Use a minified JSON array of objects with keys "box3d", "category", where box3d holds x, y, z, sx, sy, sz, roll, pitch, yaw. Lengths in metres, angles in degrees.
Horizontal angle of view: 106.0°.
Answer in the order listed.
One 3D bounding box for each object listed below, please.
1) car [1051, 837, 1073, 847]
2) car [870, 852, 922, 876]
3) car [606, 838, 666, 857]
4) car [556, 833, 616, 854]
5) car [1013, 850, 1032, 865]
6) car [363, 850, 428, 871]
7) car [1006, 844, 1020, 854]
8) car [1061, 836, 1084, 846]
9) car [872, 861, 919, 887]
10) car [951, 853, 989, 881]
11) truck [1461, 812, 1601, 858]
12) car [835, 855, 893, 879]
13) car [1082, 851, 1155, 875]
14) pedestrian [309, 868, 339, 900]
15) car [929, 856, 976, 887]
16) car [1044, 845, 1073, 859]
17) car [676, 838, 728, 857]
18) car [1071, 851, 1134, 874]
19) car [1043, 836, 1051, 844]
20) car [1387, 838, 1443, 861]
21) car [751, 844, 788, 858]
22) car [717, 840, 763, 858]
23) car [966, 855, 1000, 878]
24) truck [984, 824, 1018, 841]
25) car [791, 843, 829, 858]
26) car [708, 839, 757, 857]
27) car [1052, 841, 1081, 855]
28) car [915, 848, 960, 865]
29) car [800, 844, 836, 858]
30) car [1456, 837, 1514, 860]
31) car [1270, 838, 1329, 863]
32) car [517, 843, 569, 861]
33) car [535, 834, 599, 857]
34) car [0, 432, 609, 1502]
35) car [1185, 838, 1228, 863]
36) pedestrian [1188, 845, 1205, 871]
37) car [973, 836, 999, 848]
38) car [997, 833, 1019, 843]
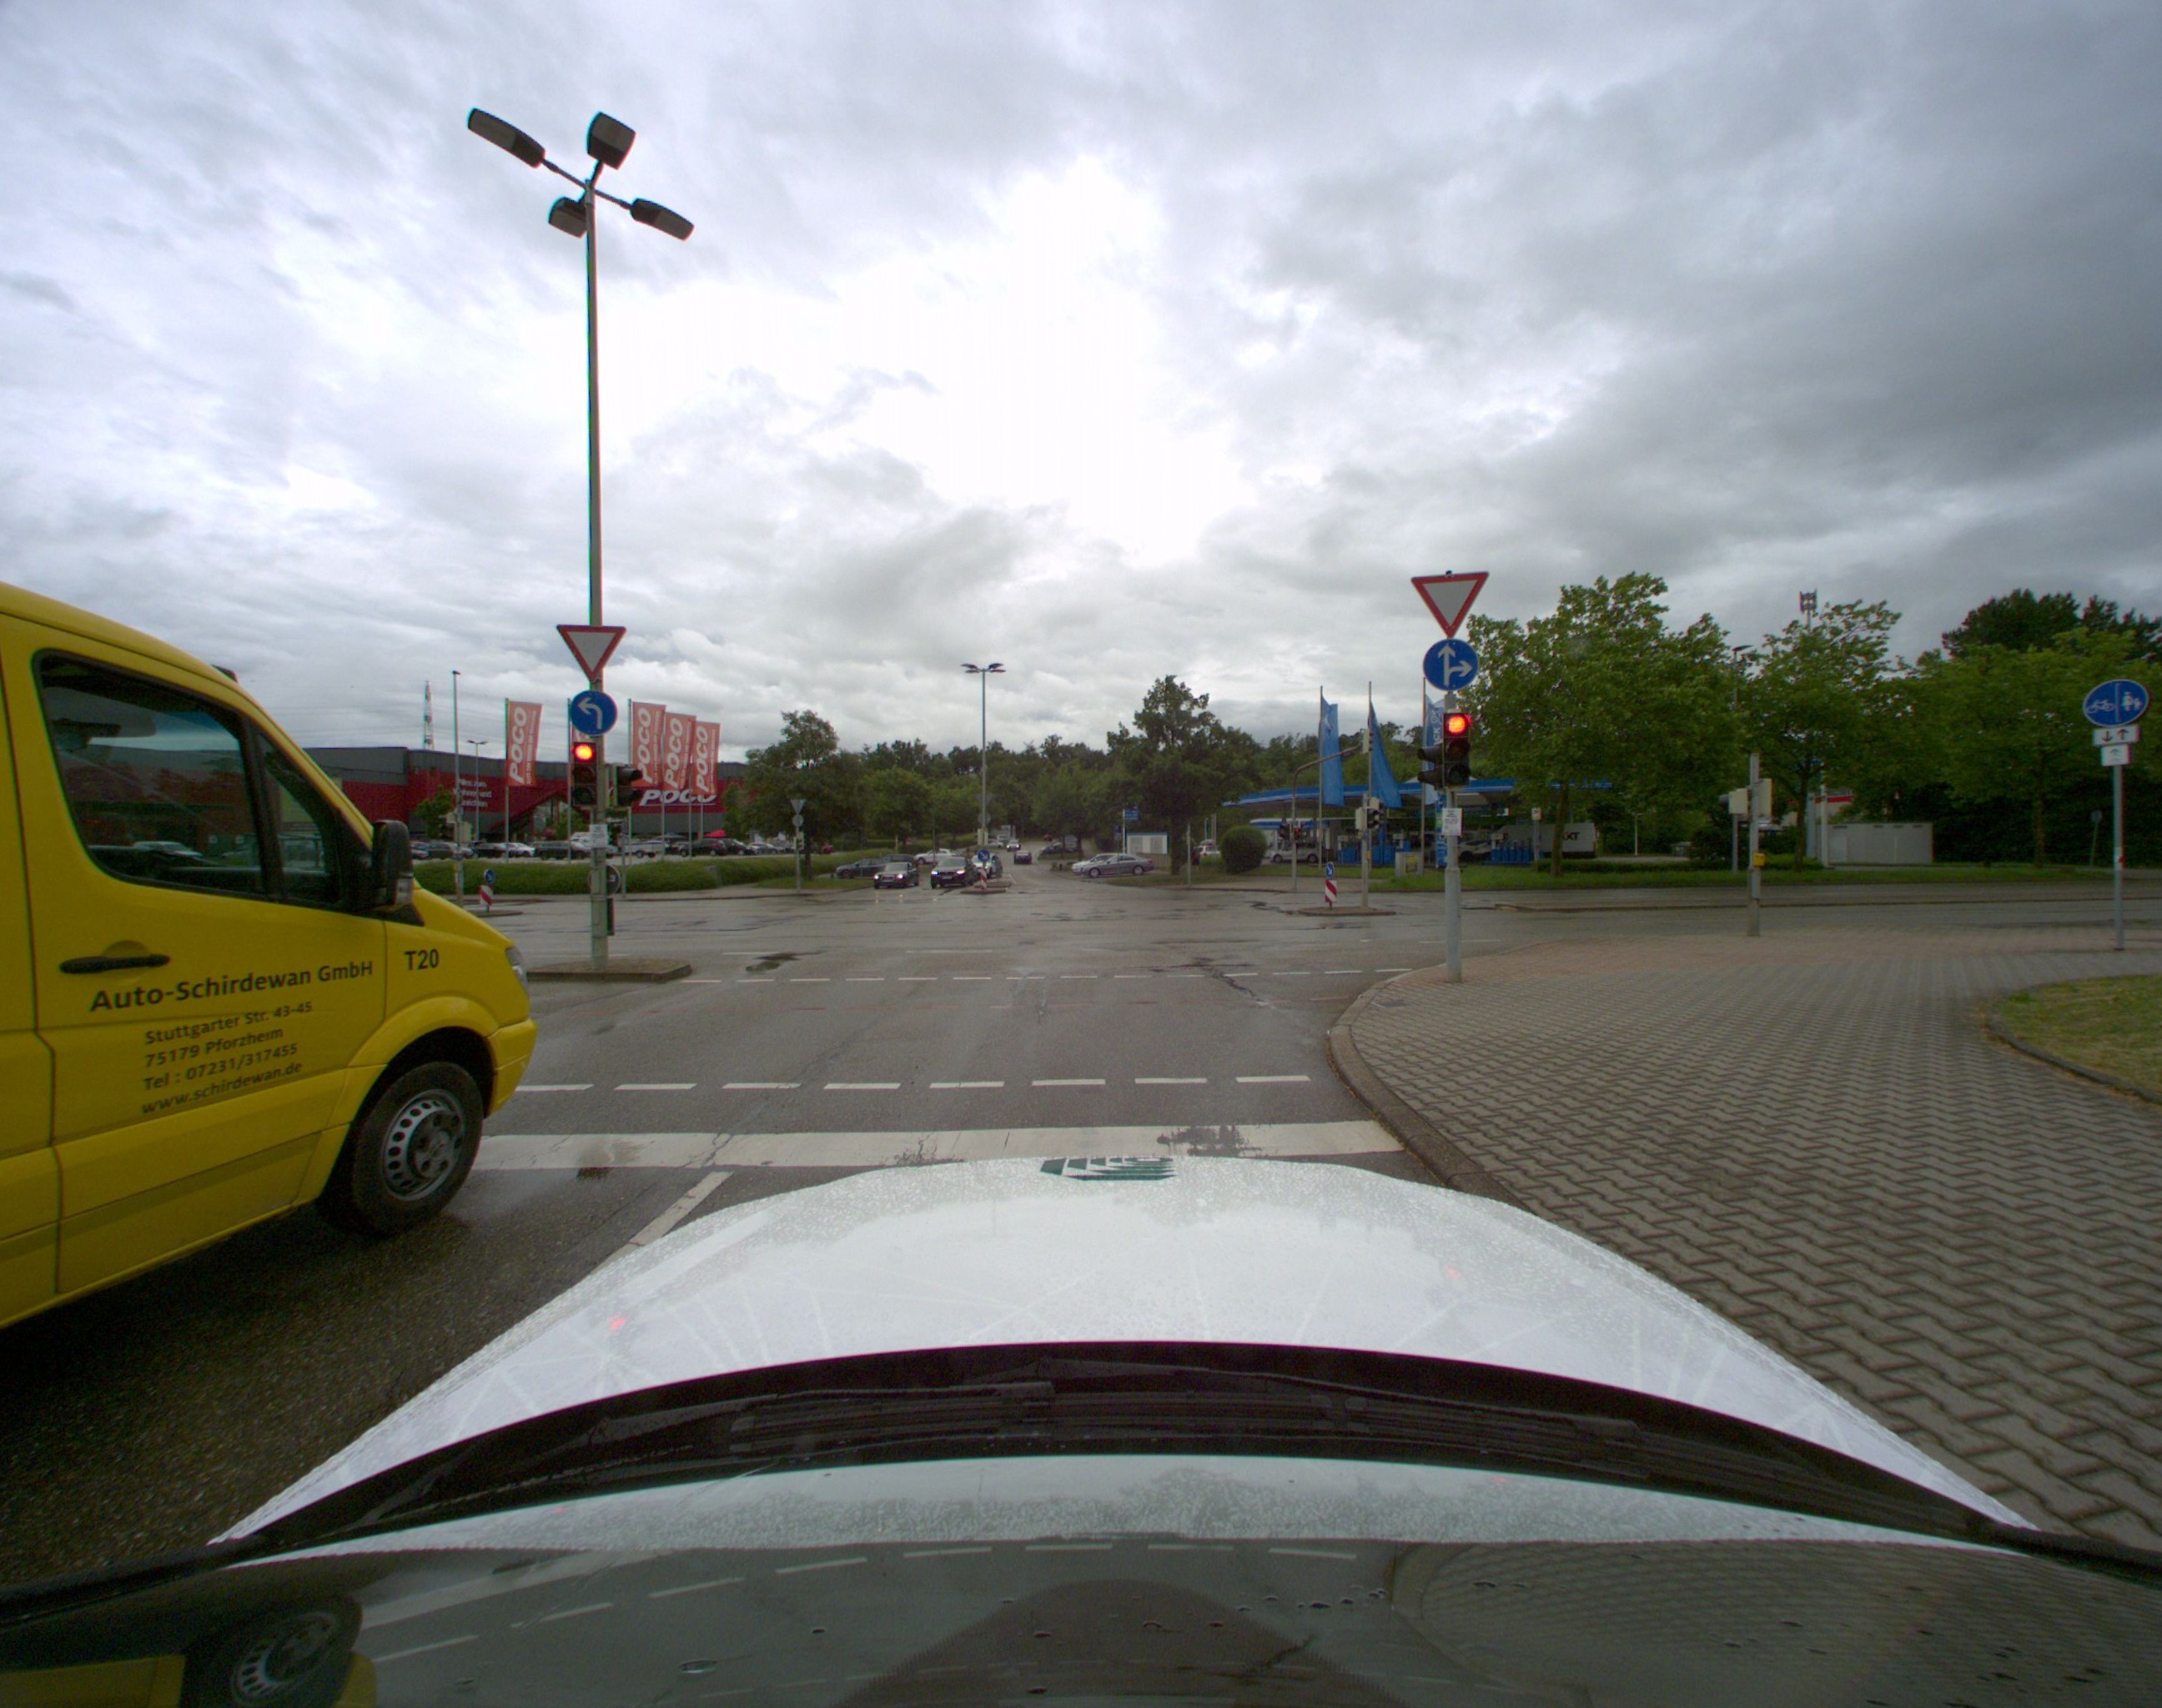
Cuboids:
[{"box3d":[-3.592,-2.230,152.111,3.979,1.739,1.808,-1,-1,-4],"category":"car"},{"box3d":[-14.198,0.763,62.535,3.643,1.724,1.682,-1,-1,-5],"category":"car"},{"box3d":[-35.369,-0.516,64.748,3.880,1.381,1.674,-1,-1,3],"category":"car"},{"box3d":[-39.380,-0.822,64.825,3.798,1.645,1.634,-1,-1,3],"category":"car"},{"box3d":[-6.073,0.375,85.027,1.803,1.482,3.747,-1,0,-3],"category":"car"},{"box3d":[-55.108,0.509,65.503,3.933,1.645,1.674,-1,-1,3],"category":"car"},{"box3d":[-10.127,-0.741,121.750,1.692,1.456,3.673,-1,-1,1],"category":"car"},{"box3d":[-1.581,-2.313,144.629,3.979,1.739,1.808,-1,-1,-4],"category":"car"},{"box3d":[-10.336,1.083,45.619,1.778,1.404,3.998,-1,0,-1],"category":"car"},{"box3d":[-6.851,0.779,50.566,1.791,1.633,4.549,-1,-1,-1],"category":"car"},{"box3d":[29.037,-1.179,52.899,7.774,2.675,2.168,-1,-1,27],"category":"truck"},{"box3d":[-15.142,0.915,56.925,3.643,1.553,1.682,-1,-1,-5],"category":"car"},{"box3d":[2.565,0.627,56.574,4.878,1.549,1.996,-1,-1,-5],"category":"car"},{"box3d":[-34.349,1.371,36.953,0.637,1.431,0.781,-1,-1,-1],"category":"pedestrian"},{"box3d":[-6.943,0.926,44.338,1.890,1.553,4.589,-1,0,-1],"category":"car"},{"box3d":[-2.692,-0.206,98.058,3.452,1.654,1.614,0,-1,-3],"category":"car"},{"box3d":[-33.430,-0.568,71.820,3.798,1.645,1.674,-1,-1,3],"category":"car"},{"box3d":[1.588,0.642,61.876,4.565,1.589,1.926,-1,-1,-5],"category":"car"},{"box3d":[-7.586,-3.110,181.142,1.800,1.739,3.996,-1,0,-3],"category":"car"},{"box3d":[26.747,-0.318,65.206,3.949,1.728,1.806,-2,-1,29],"category":"car"},{"box3d":[-36.881,-0.347,96.457,3.798,1.645,1.674,-1,-1,3],"category":"car"},{"box3d":[-33.300,-0.506,79.537,3.798,1.645,1.674,-1,-1,3],"category":"car"},{"box3d":[-6.696,0.845,56.008,1.890,1.553,3.998,-1,0,-1],"category":"car"},{"box3d":[-18.647,-4.980,190.600,7.320,3.861,2.786,-1,-1,10],"category":"truck"},{"box3d":[-31.968,-0.381,96.083,3.798,1.645,1.674,-1,-1,3],"category":"car"},{"box3d":[-32.861,-0.532,76.808,3.798,1.645,1.674,-1,-1,3],"category":"car"},{"box3d":[-1.830,-0.768,104.565,3.690,1.750,1.695,0,-1,-4],"category":"car"},{"box3d":[-14.717,0.272,83.751,4.260,1.609,1.684,-1,-1,-2],"category":"car"},{"box3d":[-31.931,-0.359,98.870,3.798,1.645,1.674,-1,-1,3],"category":"car"},{"box3d":[28.975,-0.389,58.455,3.517,1.582,1.700,1,0,33],"category":"car"},{"box3d":[17.372,-0.270,64.667,4.075,1.807,1.958,-1,0,31],"category":"car"},{"box3d":[-51.218,-0.183,77.556,3.933,1.645,1.674,-1,-1,3],"category":"car"},{"box3d":[-39.023,-0.608,61.822,3.798,1.645,1.674,-1,-1,3],"category":"car"},{"box3d":[-3.619,0.271,1.773,2.232,2.474,5.014,-1,-1,0],"category":"car"},{"box3d":[9.271,-0.210,60.302,1.811,1.797,3.681,0,-1,-15],"category":"car"},{"box3d":[7.399,0.281,52.368,0.809,1.661,0.883,-1,-1,-12],"category":"pedestrian"},{"box3d":[-14.763,-1.860,126.512,3.980,1.794,1.853,-1,-1,-5],"category":"car"},{"box3d":[-14.056,-3.052,157.152,3.974,1.794,1.856,-1,-1,0],"category":"car"}]
